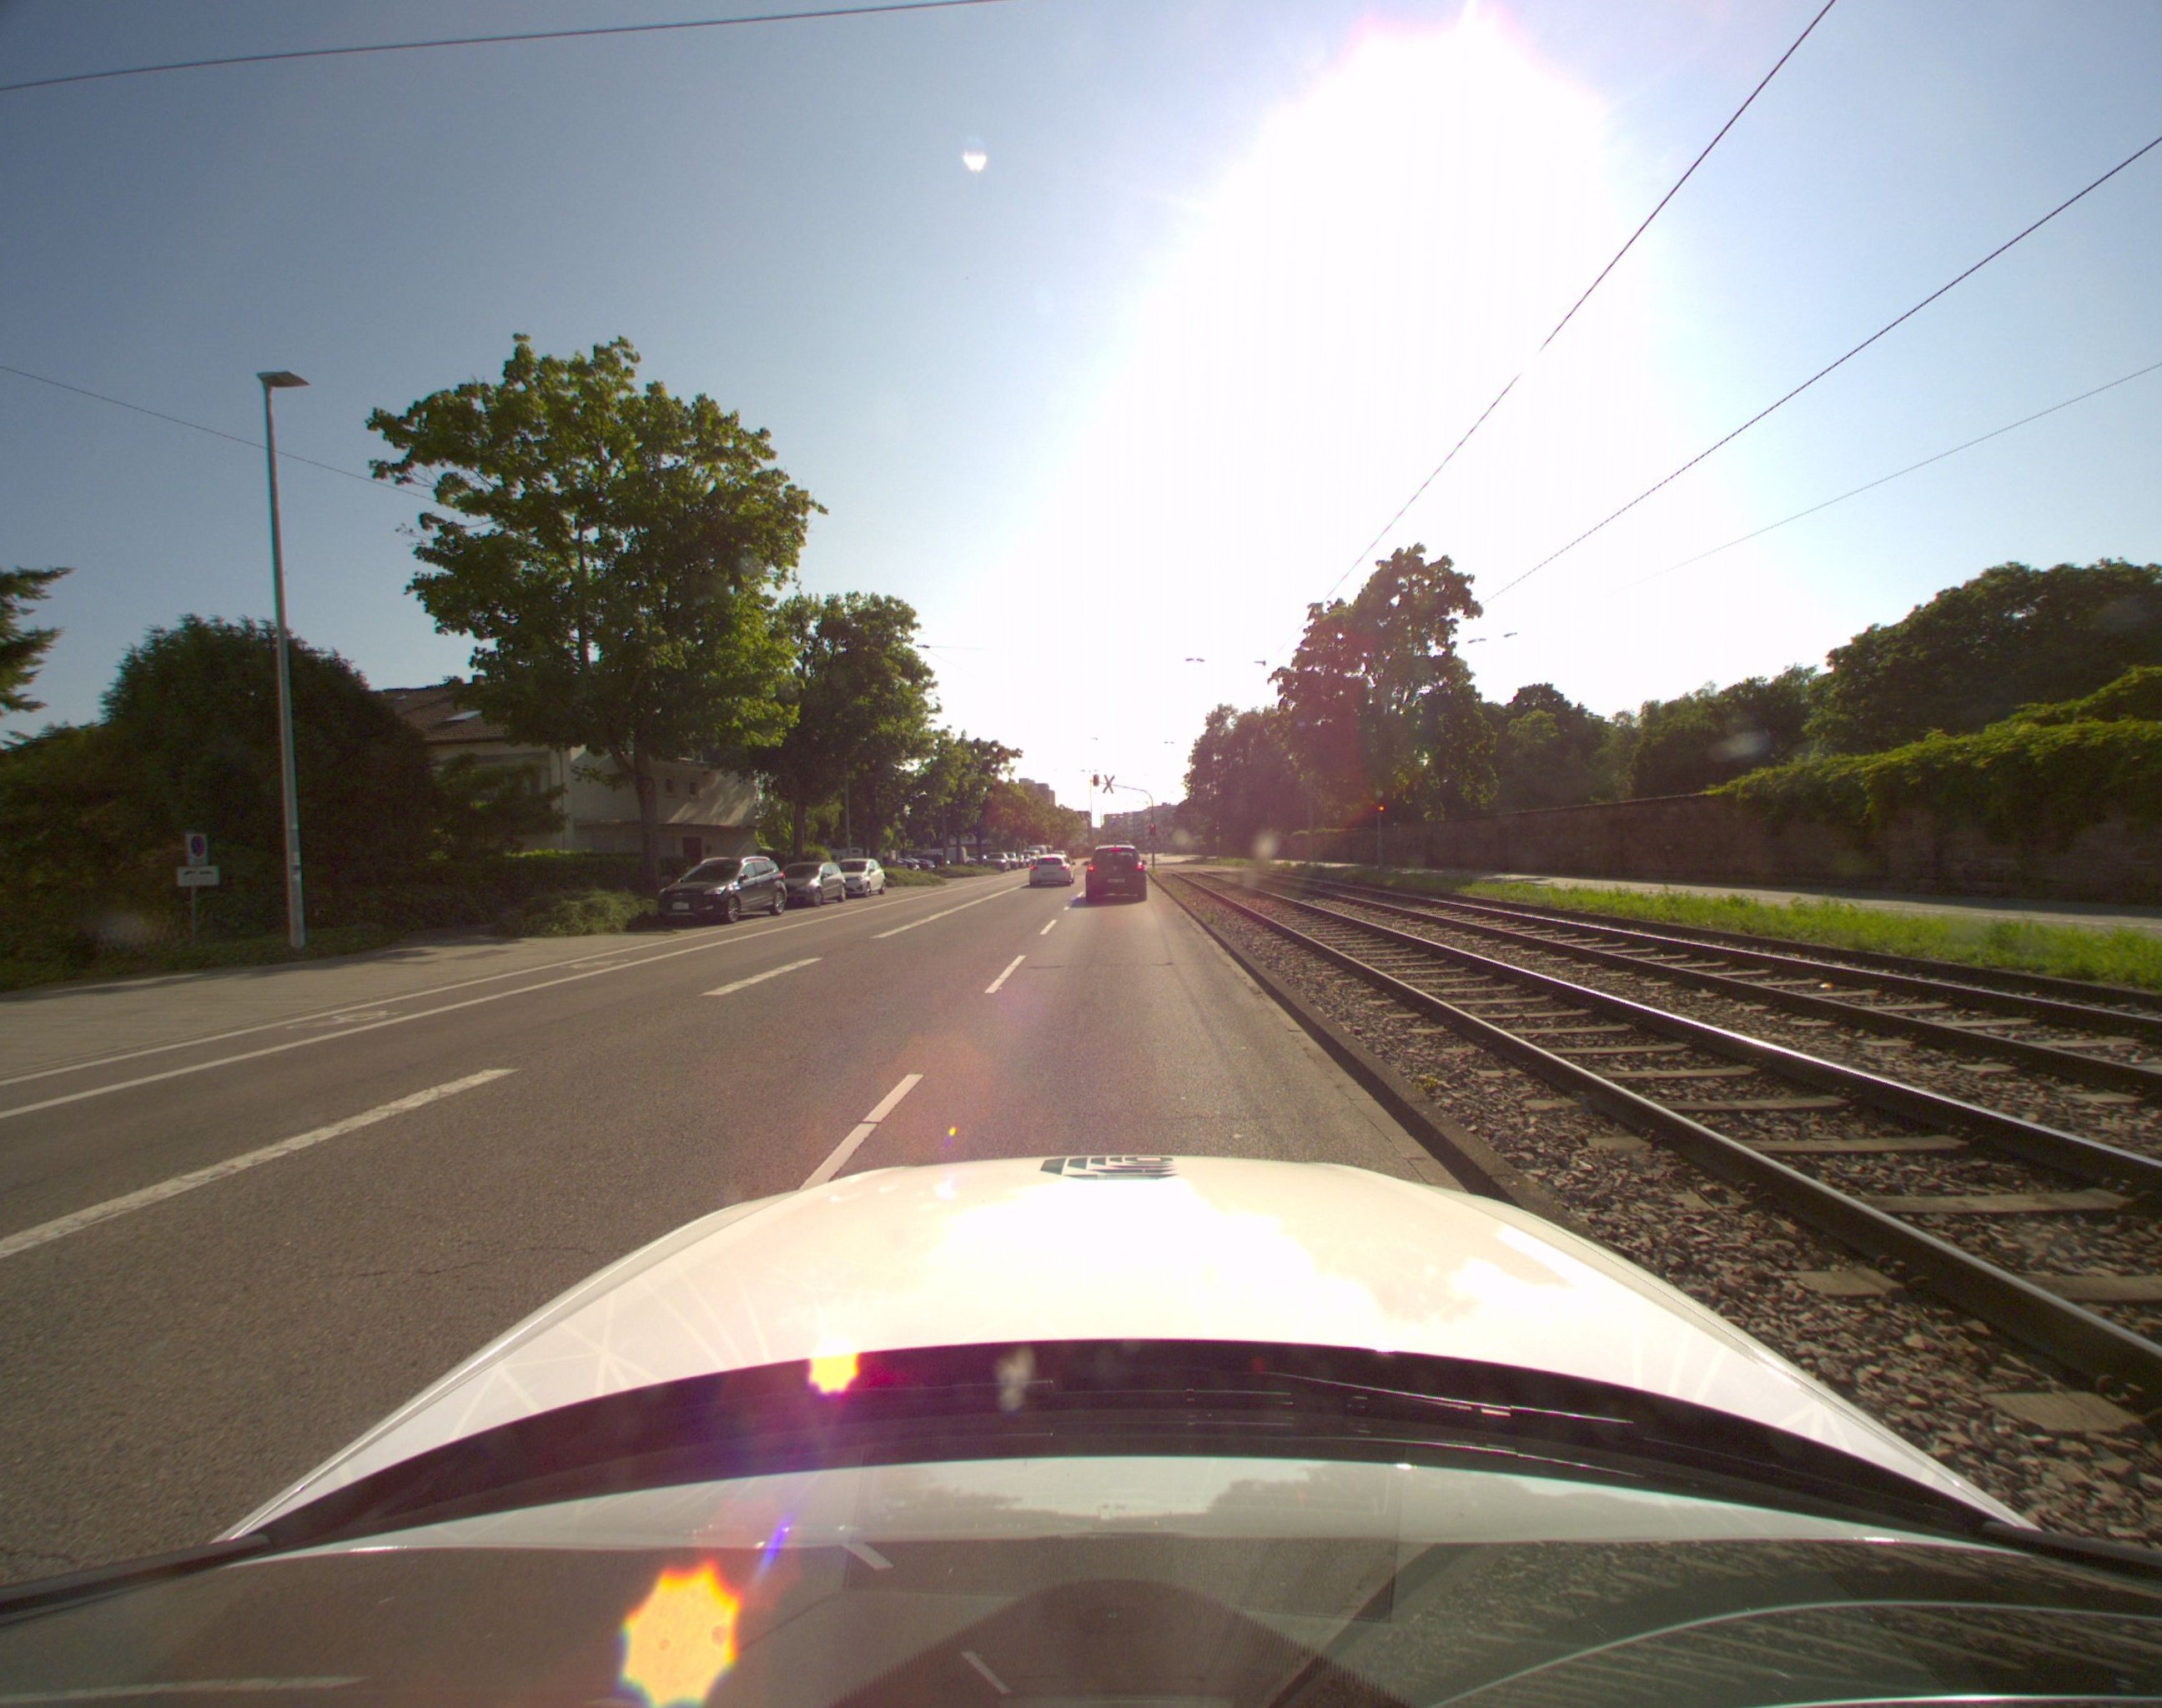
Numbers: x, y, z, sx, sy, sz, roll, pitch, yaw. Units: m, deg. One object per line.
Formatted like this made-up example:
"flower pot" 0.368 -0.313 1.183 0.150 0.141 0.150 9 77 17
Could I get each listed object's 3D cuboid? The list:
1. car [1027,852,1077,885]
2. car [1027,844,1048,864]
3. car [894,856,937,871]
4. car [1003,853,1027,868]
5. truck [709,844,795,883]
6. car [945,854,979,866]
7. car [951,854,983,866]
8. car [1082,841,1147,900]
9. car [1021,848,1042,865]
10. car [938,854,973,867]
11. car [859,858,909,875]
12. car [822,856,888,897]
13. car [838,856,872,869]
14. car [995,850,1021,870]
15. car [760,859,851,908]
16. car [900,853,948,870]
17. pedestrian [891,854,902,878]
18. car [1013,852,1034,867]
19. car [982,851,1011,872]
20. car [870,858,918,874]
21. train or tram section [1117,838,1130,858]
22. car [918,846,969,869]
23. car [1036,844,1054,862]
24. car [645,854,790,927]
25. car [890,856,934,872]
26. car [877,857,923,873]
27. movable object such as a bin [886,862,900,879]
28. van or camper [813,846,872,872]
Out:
"car" -1.232 0.618 36.676 1.857 1.348 4.004 -1 0 3
"car" -5.340 -0.029 100.768 1.855 2.347 4.991 -2 0 5
"car" -17.024 0.945 84.021 3.974 1.397 1.737 -2 0 -1
"car" -6.685 0.653 82.920 1.724 1.389 3.740 -2 1 5
"truck" -30.042 0.847 74.579 6.937 3.242 1.988 -2 0 1
"car" -15.363 0.802 105.296 3.974 1.397 1.737 -2 0 -1
"car" -15.019 0.786 107.515 3.974 1.397 1.737 -2 0 -1
"car" 1.072 0.472 25.246 1.804 1.644 4.004 -1 0 3
"car" -5.642 0.279 94.010 1.724 1.860 4.495 -2 0 5
"car" -15.347 0.826 99.814 3.974 1.397 1.737 -2 0 -1
"car" -17.602 1.100 72.962 3.974 1.307 1.737 -2 0 -1
"car" -9.236 0.883 33.549 1.595 1.550 3.894 0 0 0
"car" -28.540 1.042 102.847 3.651 1.397 1.737 -2 0 -1
"car" -6.868 0.545 76.603 1.724 1.694 4.005 -2 1 5
"car" -9.400 0.965 28.081 1.671 1.468 3.969 -2 0 1
"car" -16.609 0.798 86.395 4.601 1.651 2.050 -2 0 1
"pedestrian" -12.792 0.856 56.483 0.522 1.628 0.610 -2 0 3
"car" -6.246 0.593 88.794 1.724 1.450 3.740 -2 1 5
"car" -7.316 0.634 70.984 1.724 1.657 4.005 -2 0 5
"car" -17.325 1.081 75.551 3.974 1.307 1.737 -2 0 -1
"train or tram section" 8.140 -1.095 155.161 2.317 3.570 8.908 -2 0 3
"car" -15.883 0.365 94.397 5.353 2.423 2.089 -2 0 3
"car" -4.748 -0.117 107.582 1.724 2.268 4.651 -2 0 5
"car" -9.669 0.897 22.106 1.666 1.694 4.426 -2 0 4
"car" -16.807 0.950 81.043 3.974 1.397 1.737 -2 0 -1
"car" -17.503 1.072 78.851 3.974 1.307 1.737 -2 0 -1
"movable object such as a bin" -12.843 1.112 55.551 0.540 1.146 1.262 -2 0 3
"van or camper" -29.211 0.608 99.704 6.436 2.868 2.310 -2 0 3
